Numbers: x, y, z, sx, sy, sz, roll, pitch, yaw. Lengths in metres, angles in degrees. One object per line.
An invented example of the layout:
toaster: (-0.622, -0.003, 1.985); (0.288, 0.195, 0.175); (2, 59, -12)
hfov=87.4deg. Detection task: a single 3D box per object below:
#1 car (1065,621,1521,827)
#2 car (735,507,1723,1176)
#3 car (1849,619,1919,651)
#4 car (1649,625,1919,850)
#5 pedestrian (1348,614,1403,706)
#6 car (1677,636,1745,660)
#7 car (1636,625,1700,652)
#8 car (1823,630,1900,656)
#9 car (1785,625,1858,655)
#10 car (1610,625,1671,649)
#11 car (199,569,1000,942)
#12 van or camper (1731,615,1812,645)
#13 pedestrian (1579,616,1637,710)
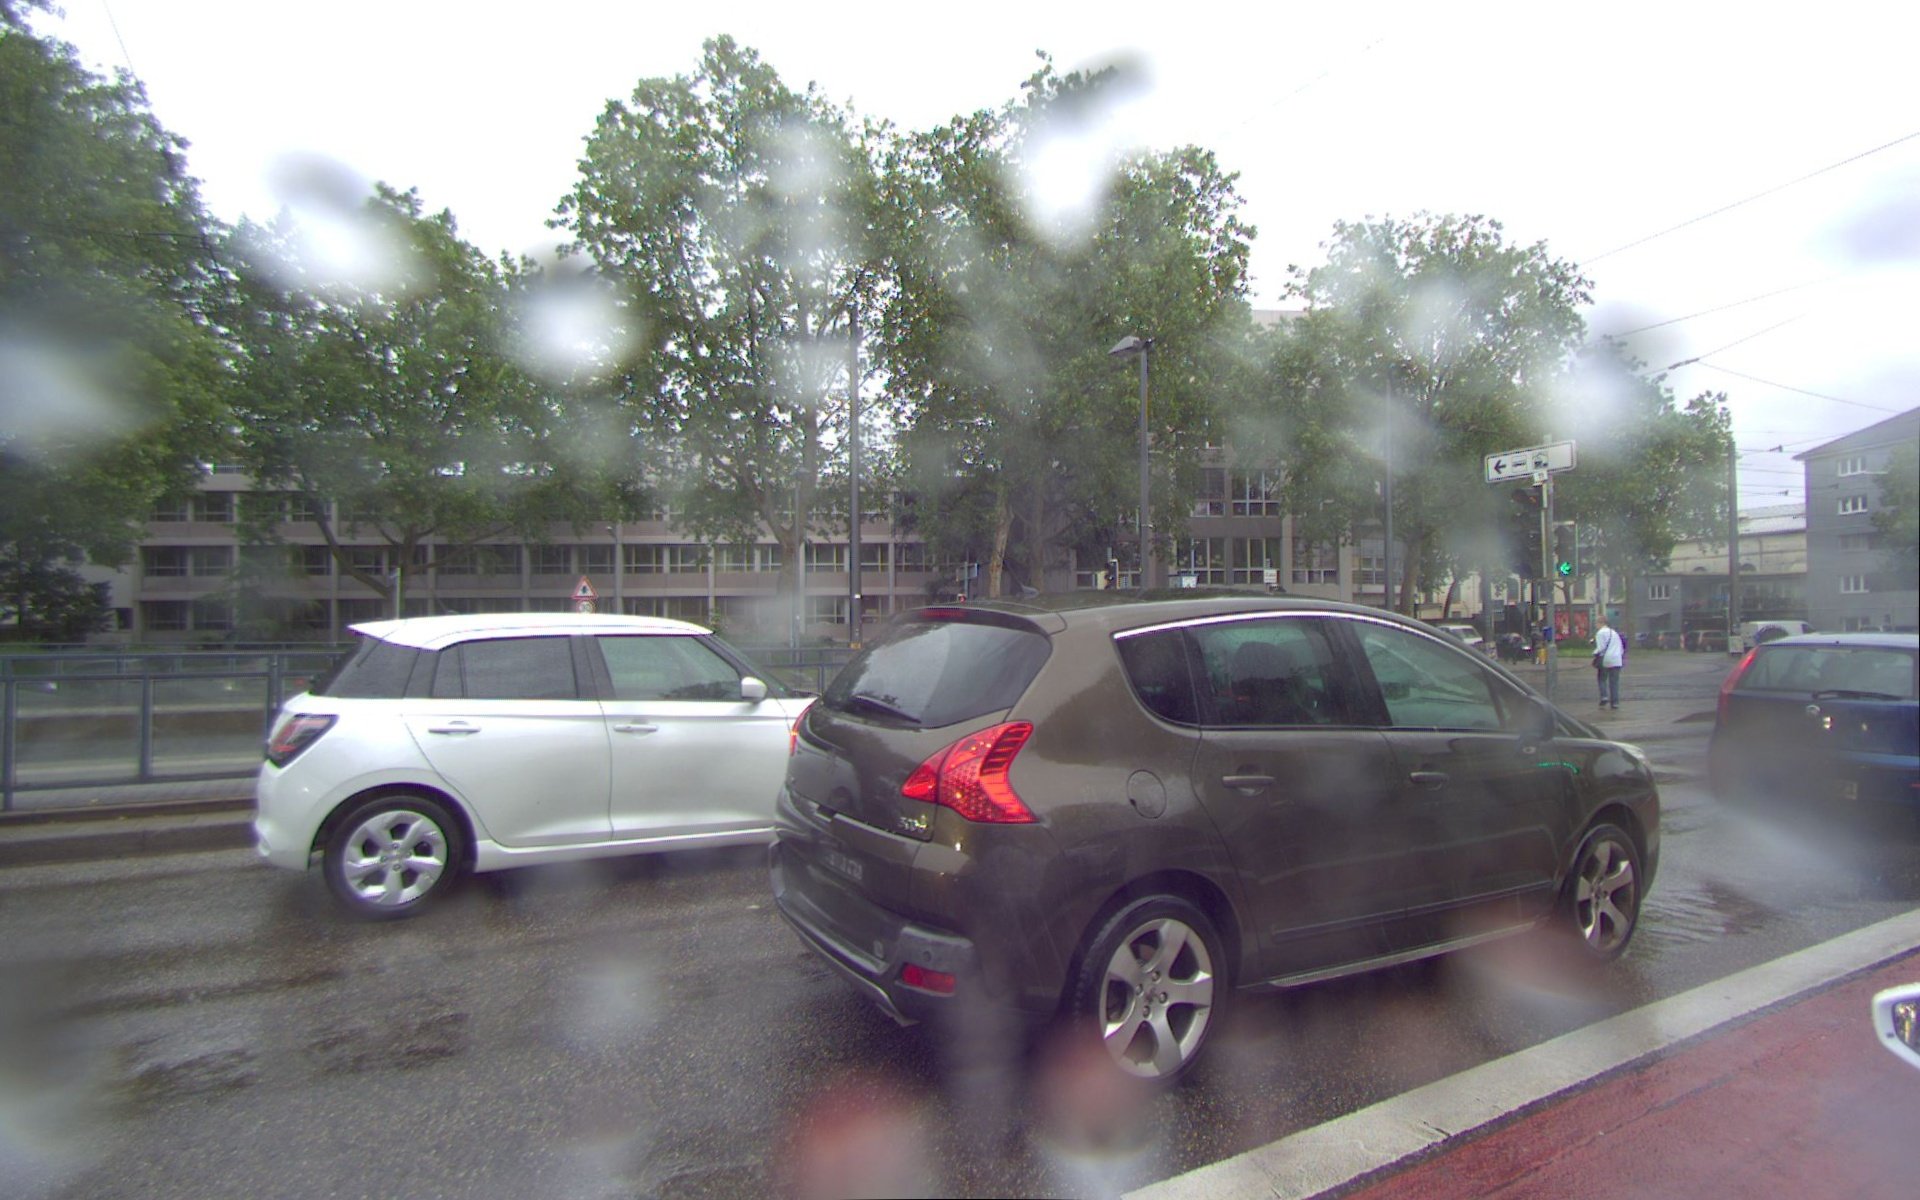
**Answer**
car: (3.205, 0.989, 9.517); (4.140, 1.557, 1.799); (0, -1, -29)
car: (1.293, 0.631, 4.407); (4.140, 1.732, 1.794); (0, 0, -29)
car: (61.278, 2.276, 65.794); (4.310, 2.040, 2.068); (0, 0, 0)
car: (7.742, 1.001, 8.327); (3.786, 1.478, 1.874); (2, -1, -29)
pedestrian: (8.010, 1.142, 19.390); (0.932, 1.734, 0.830); (-1, -1, 22)
car: (59.081, 3.761, 79.049); (3.924, 1.635, 1.999); (2, -1, -5)
car: (58.810, 3.212, 83.475); (3.921, 2.040, 2.000); (2, 0, 0)
car: (61.660, 2.920, 68.760); (3.930, 1.647, 1.952); (2, 0, -11)
car: (60.955, 2.805, 71.063); (3.931, 2.040, 1.995); (0, -1, -13)
car: (58.453, 3.173, 86.324); (3.919, 1.954, 2.001); (0, 0, 4)
car: (-1.934, 0.687, 6.099); (4.022, 1.608, 1.794); (0, -1, -28)
van or camper: (59.587, 2.197, 73.772); (4.568, 2.102, 1.998); (1, -1, -7)
pedestrian: (11.515, 1.100, 17.876); (0.721, 1.631, 0.717); (-1, -1, 22)
